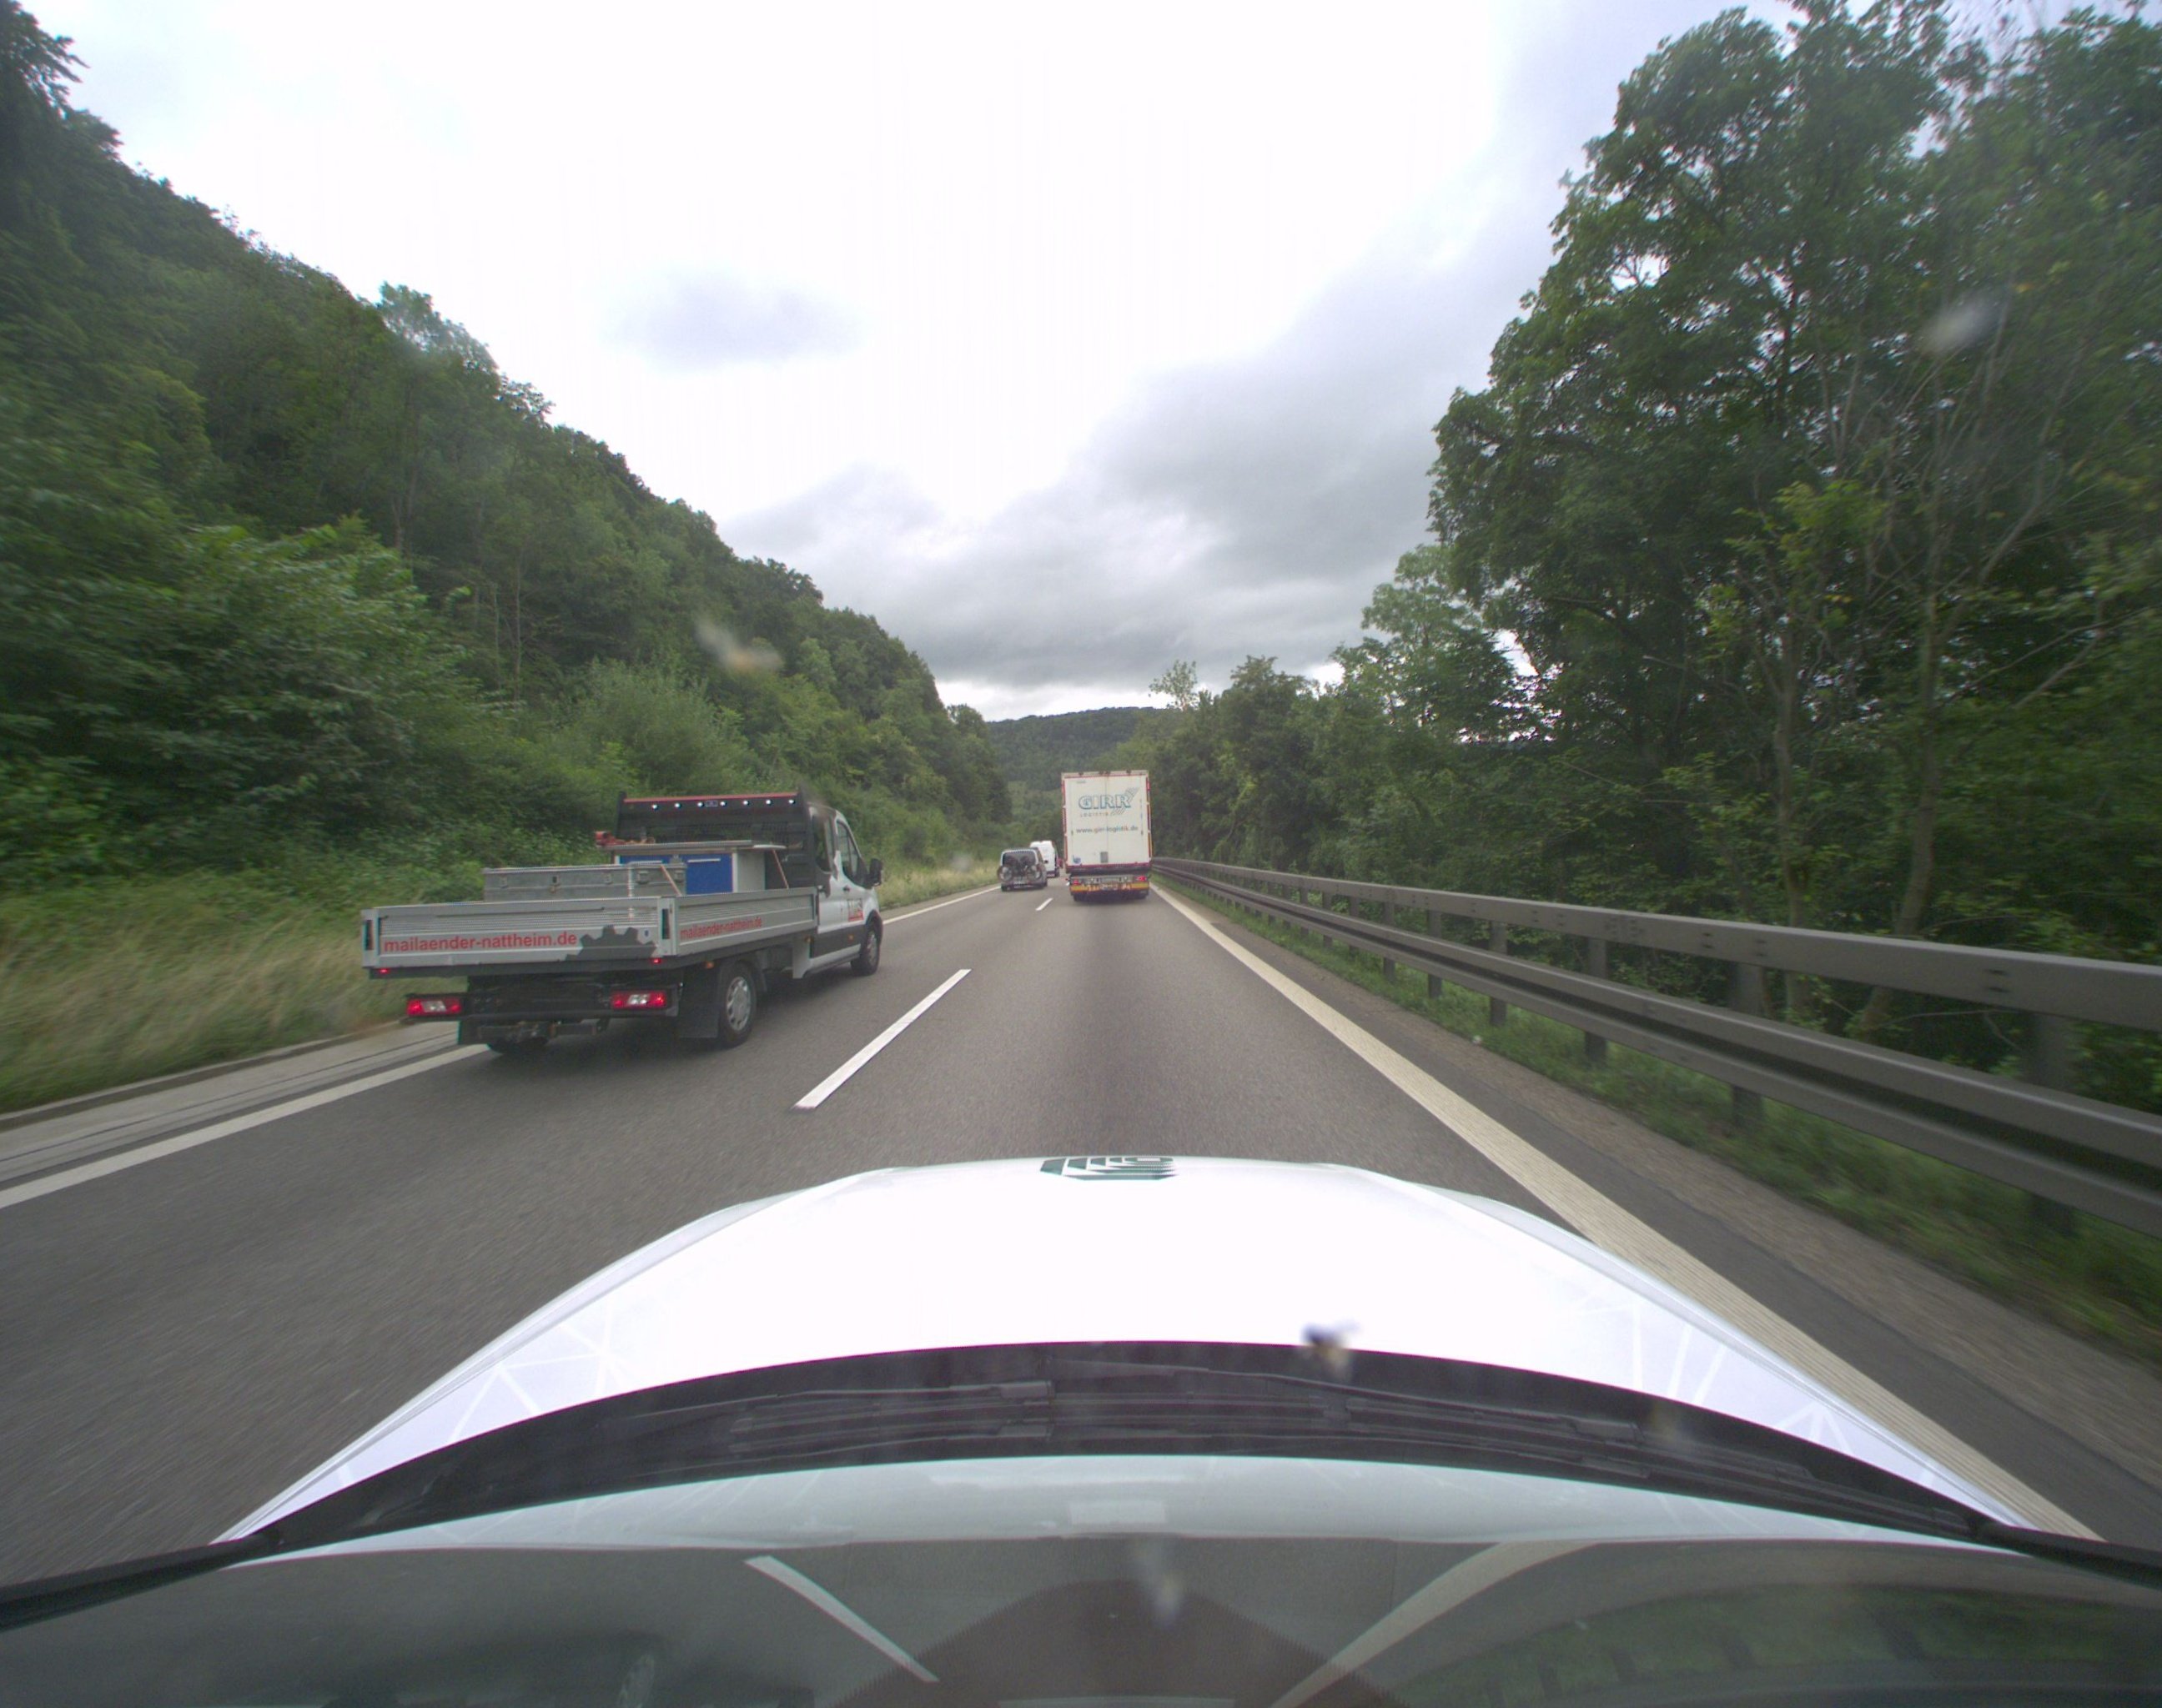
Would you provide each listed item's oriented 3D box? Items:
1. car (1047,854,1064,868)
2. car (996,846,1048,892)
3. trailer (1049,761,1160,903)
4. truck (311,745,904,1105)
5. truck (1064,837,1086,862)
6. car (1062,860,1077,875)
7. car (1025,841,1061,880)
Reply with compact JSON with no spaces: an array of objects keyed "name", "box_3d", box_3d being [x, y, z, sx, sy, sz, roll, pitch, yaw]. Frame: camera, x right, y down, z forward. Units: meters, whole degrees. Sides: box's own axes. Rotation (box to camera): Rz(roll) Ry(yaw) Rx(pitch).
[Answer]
[{"name":"car","box_3d":[-2.878,0.754,91.881,1.677,1.452,3.766,-3,0,1]},{"name":"car","box_3d":[-2.679,0.657,38.084,2.012,1.914,5.561,-2,0,-1]},{"name":"trailer","box_3d":[0.855,-0.649,28.277,3.121,4.042,9.444,-1,0,2]},{"name":"truck","box_3d":[-3.858,0.466,8.791,2.342,2.274,6.847,-2,0,0]},{"name":"truck","box_3d":[-1.094,-0.709,139.016,3.062,3.877,8.447,-2,-1,-4]},{"name":"car","box_3d":[-1.689,1.935,118.152,1.988,2.013,3.998,-2,-1,-1]},{"name":"car","box_3d":[-2.636,0.441,58.435,2.117,2.598,5.563,-3,0,0]}]
